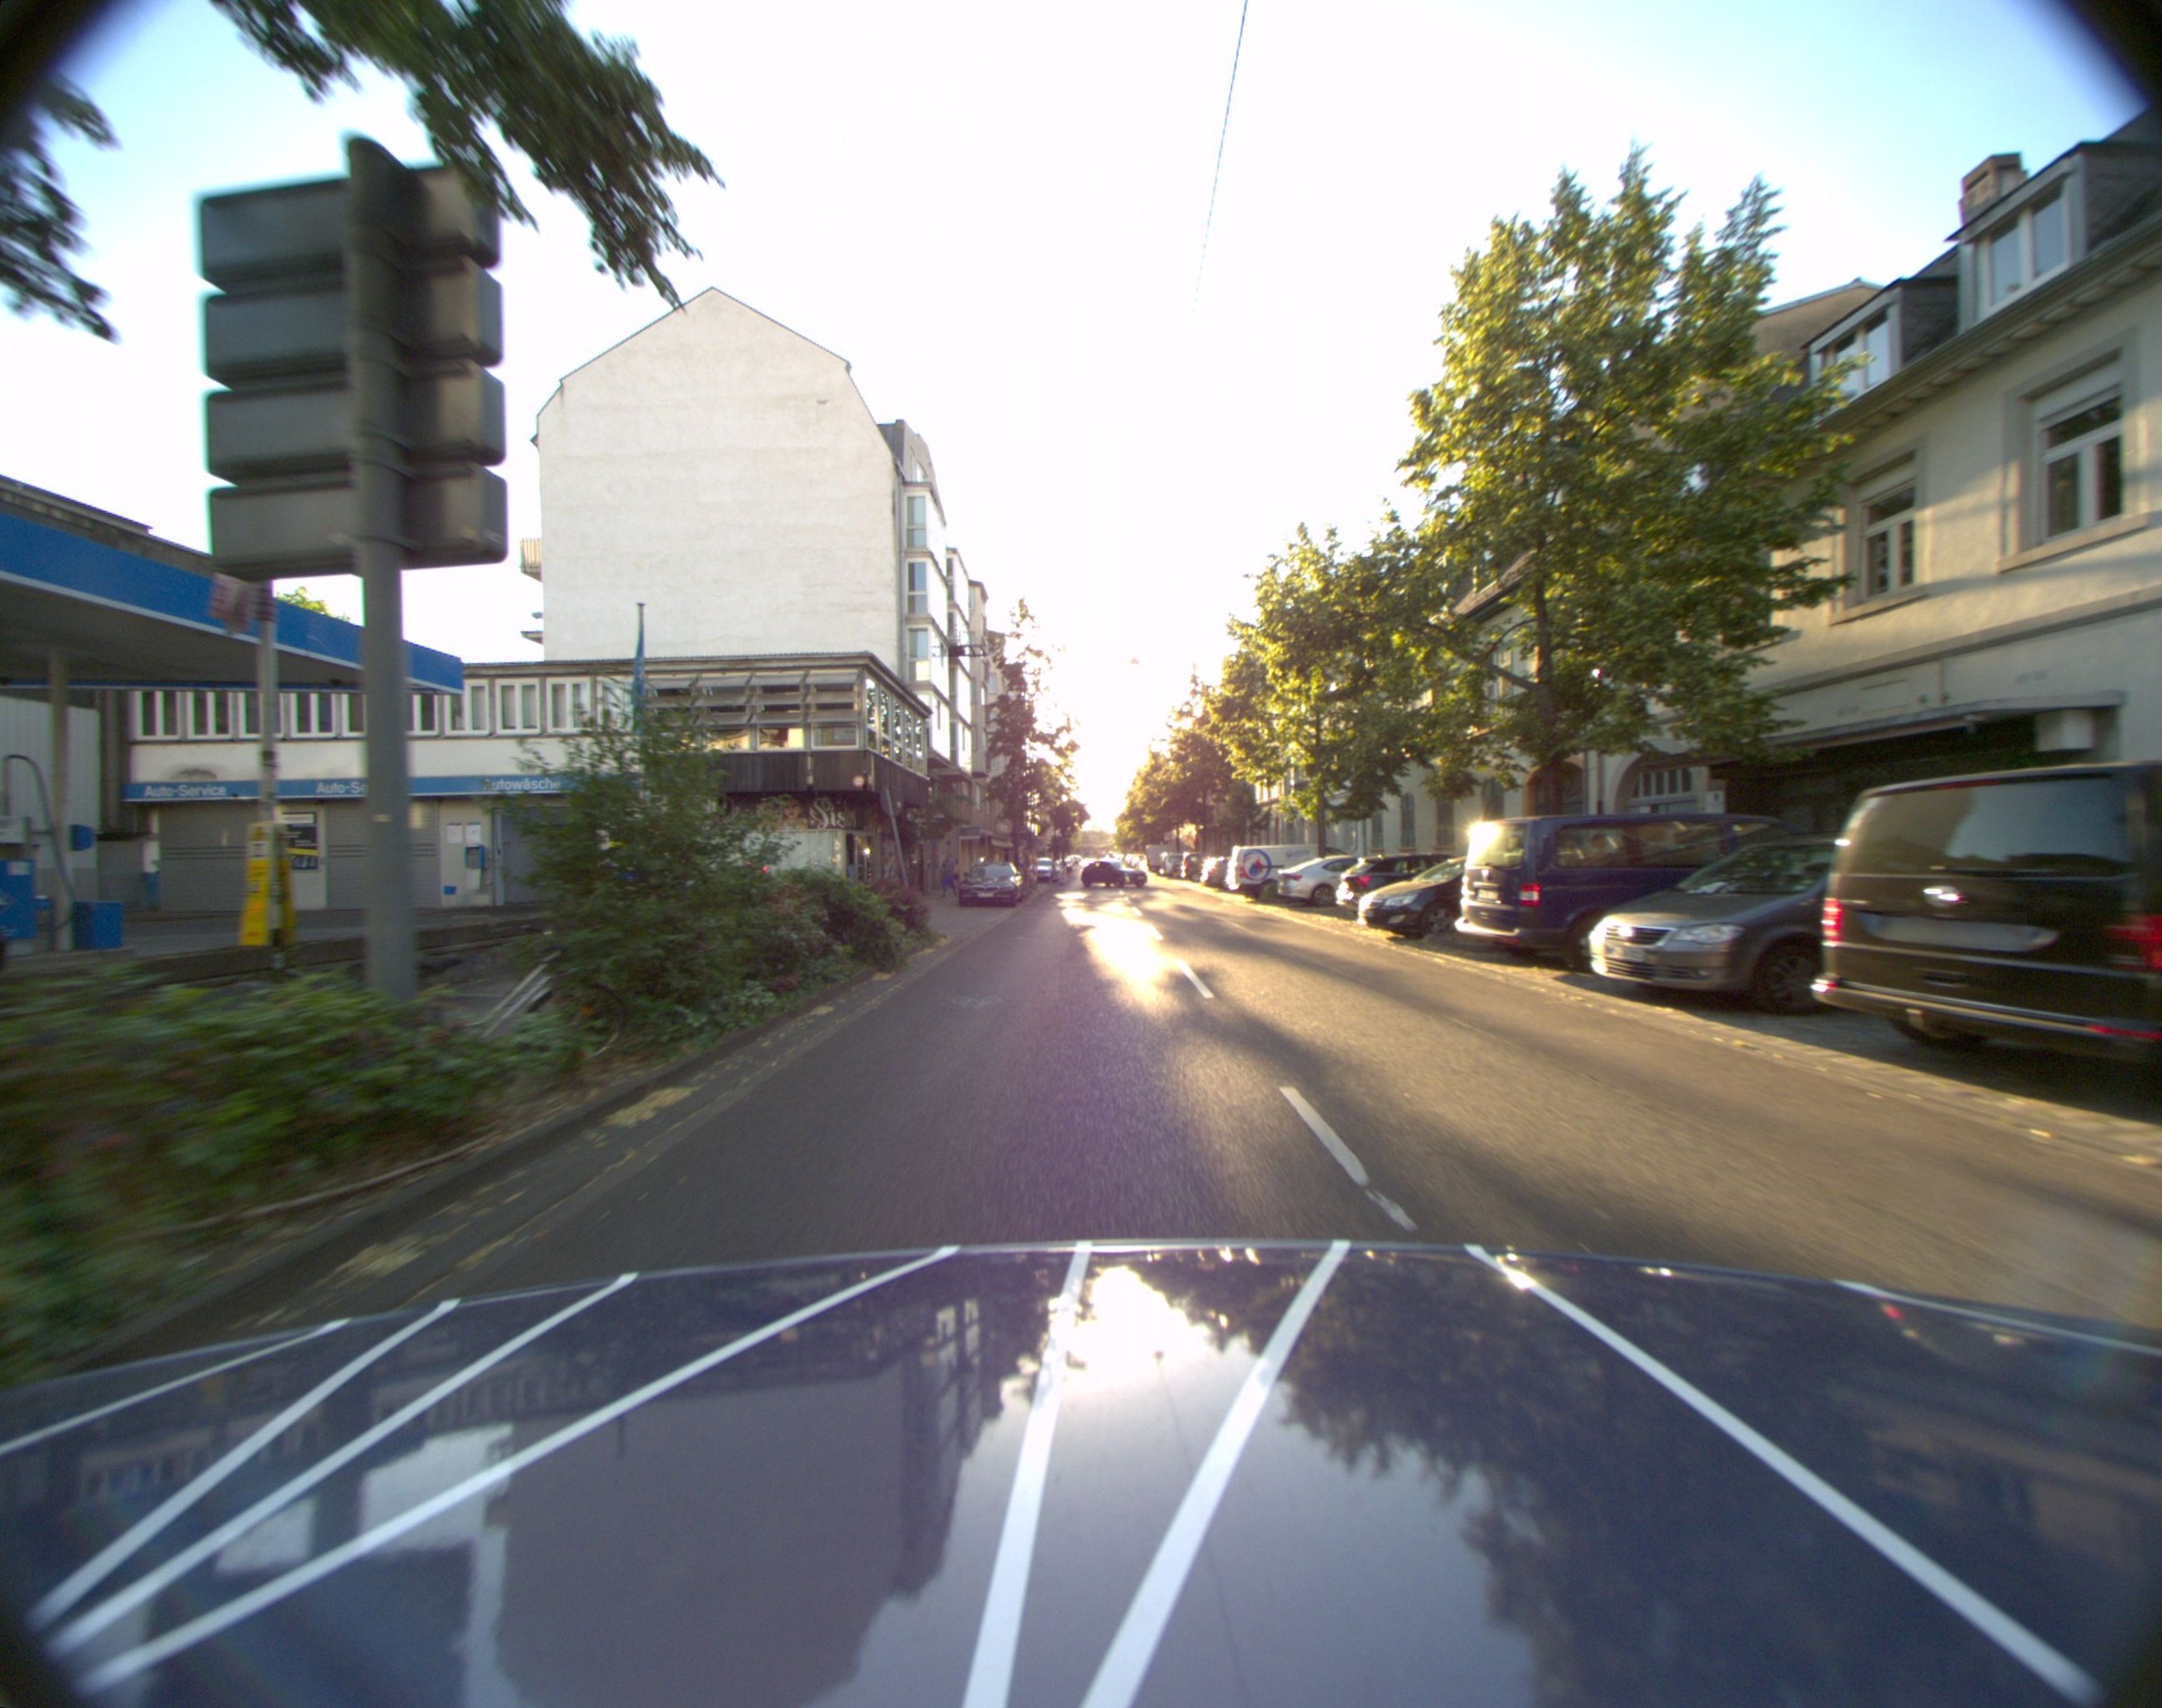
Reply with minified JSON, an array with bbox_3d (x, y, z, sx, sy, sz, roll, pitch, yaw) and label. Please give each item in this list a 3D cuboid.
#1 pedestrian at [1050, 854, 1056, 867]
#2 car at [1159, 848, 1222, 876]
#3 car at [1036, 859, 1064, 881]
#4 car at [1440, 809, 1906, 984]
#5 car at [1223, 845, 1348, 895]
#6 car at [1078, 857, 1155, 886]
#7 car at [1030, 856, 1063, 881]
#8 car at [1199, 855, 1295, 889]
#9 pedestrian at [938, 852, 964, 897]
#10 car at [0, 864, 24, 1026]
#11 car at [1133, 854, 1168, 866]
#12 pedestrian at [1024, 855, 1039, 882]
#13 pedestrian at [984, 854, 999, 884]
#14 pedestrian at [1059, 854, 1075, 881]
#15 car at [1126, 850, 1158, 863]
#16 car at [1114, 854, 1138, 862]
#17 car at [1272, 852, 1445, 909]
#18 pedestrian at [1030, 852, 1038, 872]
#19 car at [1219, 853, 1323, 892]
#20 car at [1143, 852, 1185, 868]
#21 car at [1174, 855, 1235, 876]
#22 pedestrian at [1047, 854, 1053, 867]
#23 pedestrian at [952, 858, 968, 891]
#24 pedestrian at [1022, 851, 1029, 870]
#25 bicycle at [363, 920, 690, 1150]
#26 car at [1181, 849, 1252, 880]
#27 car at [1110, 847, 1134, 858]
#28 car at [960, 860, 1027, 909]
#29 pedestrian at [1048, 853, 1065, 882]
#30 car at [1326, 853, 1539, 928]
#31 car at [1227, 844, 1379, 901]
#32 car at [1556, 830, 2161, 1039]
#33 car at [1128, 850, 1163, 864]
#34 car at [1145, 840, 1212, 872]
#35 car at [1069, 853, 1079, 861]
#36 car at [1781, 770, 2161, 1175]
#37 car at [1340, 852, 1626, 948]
[{"bbox_3d":[-3.327,0.795,89.898,0.626,1.480,0.640,0,1,2],"label":"pedestrian"},{"bbox_3d":[8.284,0.622,57.607,4.510,1.942,1.919,-2,0,3],"label":"car"},{"bbox_3d":[-2.306,1.183,58.042,1.846,1.472,5.190,1,0,1],"label":"car"},{"bbox_3d":[7.512,0.515,10.064,4.494,1.964,2.068,-2,0,2],"label":"car"},{"bbox_3d":[8.053,0.614,30.206,4.439,1.859,1.894,-1,0,2],"label":"car"},{"bbox_3d":[1.820,0.898,40.139,1.689,1.453,4.061,-1,0,-40],"label":"car"},{"bbox_3d":[-2.280,0.935,51.625,1.884,1.565,4.692,1,0,1],"label":"car"},{"bbox_3d":[7.652,0.816,35.326,4.047,1.475,1.963,-1,0,1],"label":"car"},{"bbox_3d":[-5.270,0.813,30.878,0.858,1.784,0.997,0,0,0],"label":"pedestrian"},{"bbox_3d":[-10.383,0.845,4.346,1.739,1.422,4.907,0,1,1],"label":"car"},{"bbox_3d":[9.055,0.797,99.686,4.393,1.414,1.822,-2,0,1],"label":"car"},{"bbox_3d":[-3.039,0.910,46.834,0.829,1.629,0.828,-1,1,2],"label":"pedestrian"},{"bbox_3d":[-5.054,0.824,42.956,0.790,1.694,0.700,0,0,1],"label":"pedestrian"},{"bbox_3d":[-0.858,0.833,46.928,0.924,1.685,0.762,-1,1,2],"label":"pedestrian"},{"bbox_3d":[9.190,0.399,114.352,4.567,1.772,1.946,-1,1,0],"label":"car"},{"bbox_3d":[8.838,0.783,147.710,4.579,1.548,1.809,-1,0,-37],"label":"car"},{"bbox_3d":[8.167,0.761,22.672,4.488,1.476,1.734,-2,0,3],"label":"car"},{"bbox_3d":[-4.620,0.784,74.432,0.627,1.857,0.976,2,1,1],"label":"pedestrian"},{"bbox_3d":[8.125,0.768,32.851,4.046,1.546,1.965,-1,0,3],"label":"car"},{"bbox_3d":[8.685,0.667,79.710,4.196,1.474,1.970,-2,0,0],"label":"car"},{"bbox_3d":[8.899,0.831,54.804,4.162,1.431,1.594,-2,0,2],"label":"car"},{"bbox_3d":[-4.142,0.855,100.941,0.756,1.748,0.812,-1,1,1],"label":"pedestrian"},{"bbox_3d":[-5.740,0.959,36.028,0.612,1.516,0.773,0,0,1],"label":"pedestrian"},{"bbox_3d":[-5.411,0.634,74.315,0.590,1.799,0.836,2,1,1],"label":"pedestrian"},{"bbox_3d":[-3.555,1.077,5.042,0.482,1.136,1.684,2,1,32],"label":"bicycle"},{"bbox_3d":[8.389,0.658,47.264,4.147,1.796,1.807,-1,0,3],"label":"car"},{"bbox_3d":[8.913,-0.282,164.657,4.782,2.344,2.153,-1,0,-27],"label":"car"},{"bbox_3d":[-2.942,0.988,26.428,1.833,1.479,4.849,1,0,-1],"label":"car"},{"bbox_3d":[-1.479,0.786,45.904,0.924,1.749,0.762,0,0,2],"label":"pedestrian"},{"bbox_3d":[7.820,0.792,17.220,3.932,1.492,1.905,-2,0,3],"label":"car"},{"bbox_3d":[7.905,0.640,27.425,4.882,1.897,1.974,-1,0,1],"label":"car"},{"bbox_3d":[7.295,0.691,7.372,4.139,1.627,1.860,-2,0,2],"label":"car"},{"bbox_3d":[9.149,0.433,107.615,4.718,1.800,2.053,-2,0,2],"label":"car"},{"bbox_3d":[8.705,0.203,68.222,5.672,2.606,2.171,-2,0,1],"label":"car"},{"bbox_3d":[-1.385,0.612,154.771,1.758,1.638,3.793,2,0,1],"label":"car"},{"bbox_3d":[7.448,0.498,4.659,4.495,1.964,1.965,-2,0,-1],"label":"car"},{"bbox_3d":[7.334,0.790,14.128,4.338,1.492,1.841,-2,0,-4],"label":"car"}]
